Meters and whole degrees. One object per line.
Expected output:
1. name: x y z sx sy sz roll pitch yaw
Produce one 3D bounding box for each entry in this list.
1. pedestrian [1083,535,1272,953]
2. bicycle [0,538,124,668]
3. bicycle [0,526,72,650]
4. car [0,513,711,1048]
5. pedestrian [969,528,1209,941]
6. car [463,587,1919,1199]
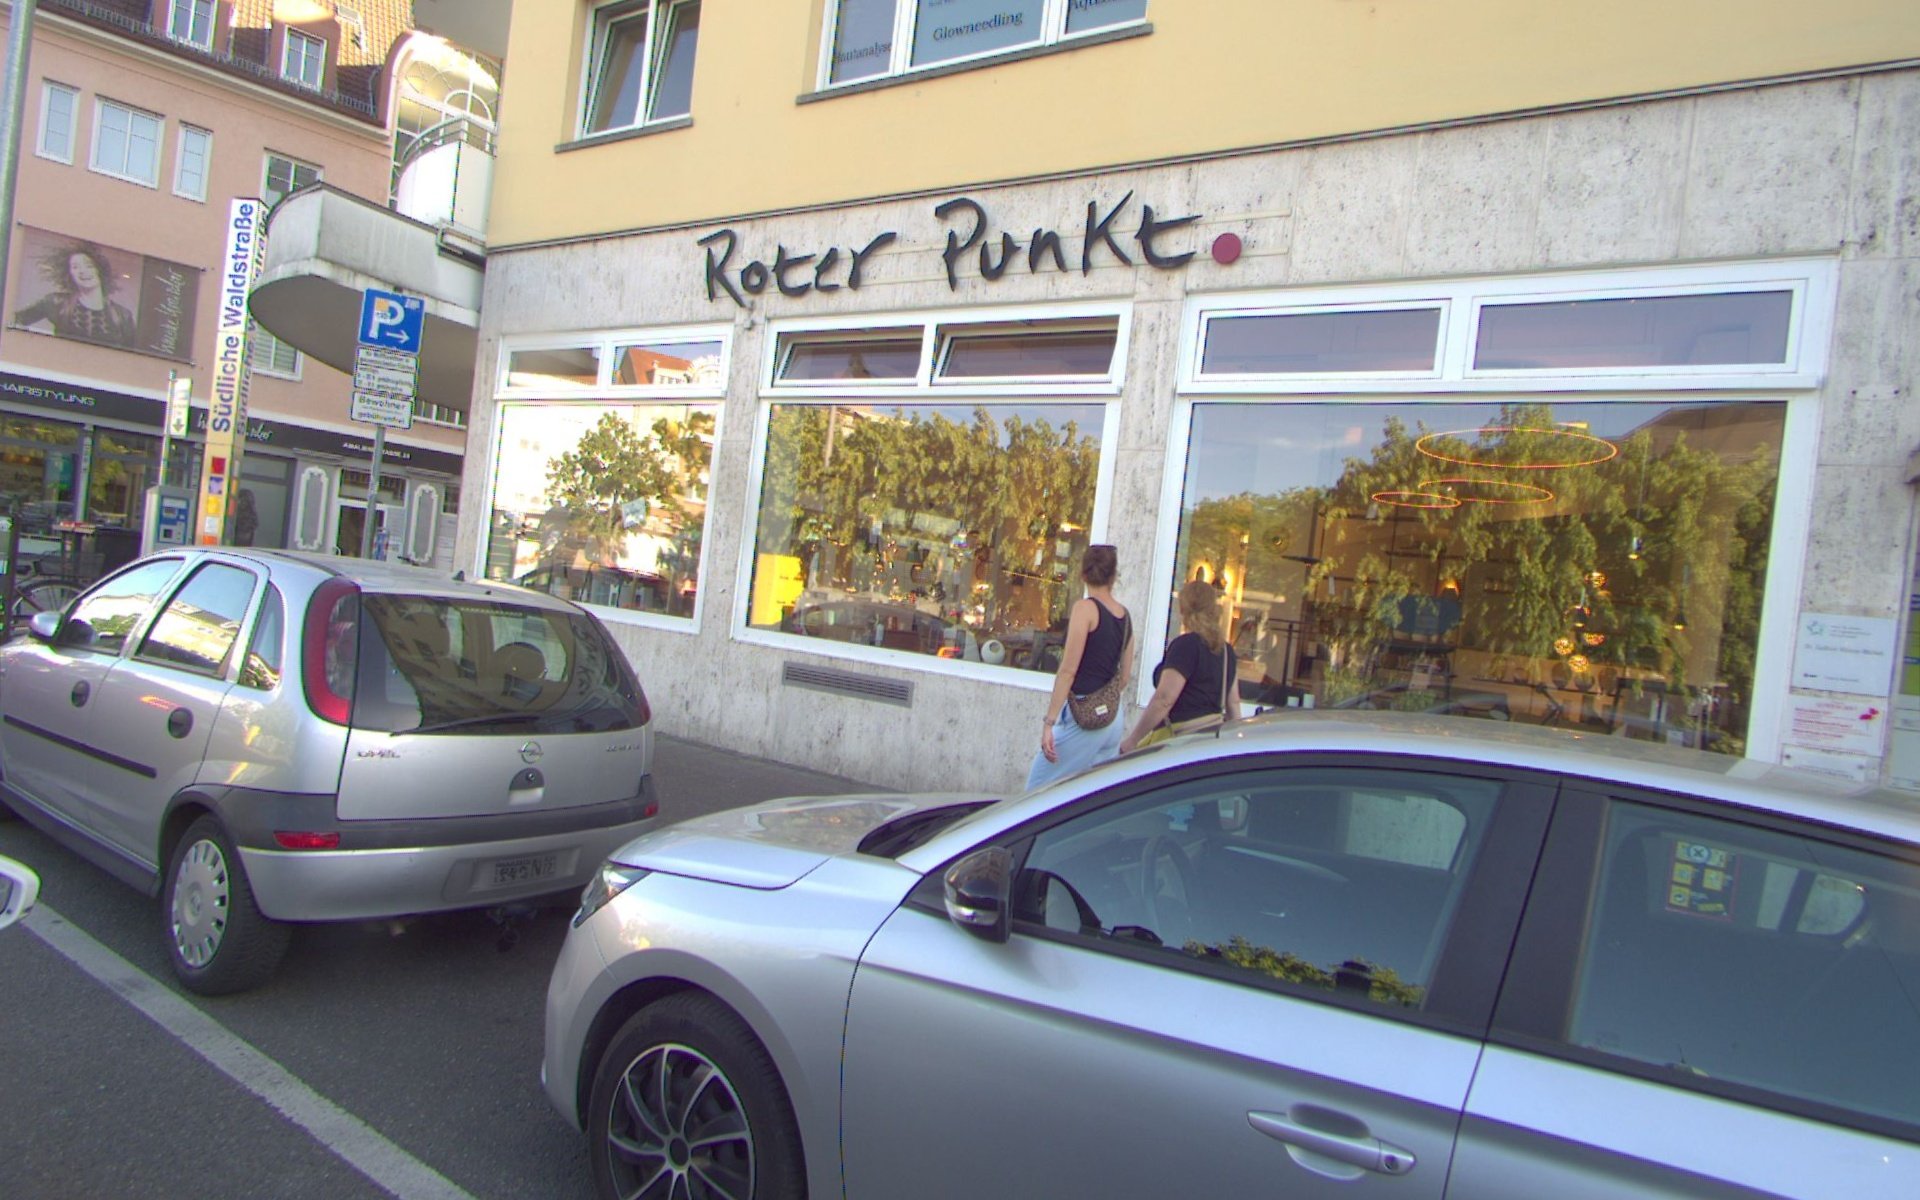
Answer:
1. pedestrian: 1.077 0.656 4.882 0.557 1.805 0.743 7 0 23
2. bicycle: -8.078 0.004 8.191 0.348 1.051 1.871 6 1 38
3. bicycle: -9.093 -0.148 8.817 0.408 1.101 1.872 6 1 35
4. car: -2.949 0.488 4.438 3.420 1.407 1.548 6 -1 33
5. pedestrian: 0.557 0.578 4.506 0.650 1.685 0.644 7 0 -21
6. car: 0.768 0.924 2.270 3.598 1.444 1.550 6 -1 30
